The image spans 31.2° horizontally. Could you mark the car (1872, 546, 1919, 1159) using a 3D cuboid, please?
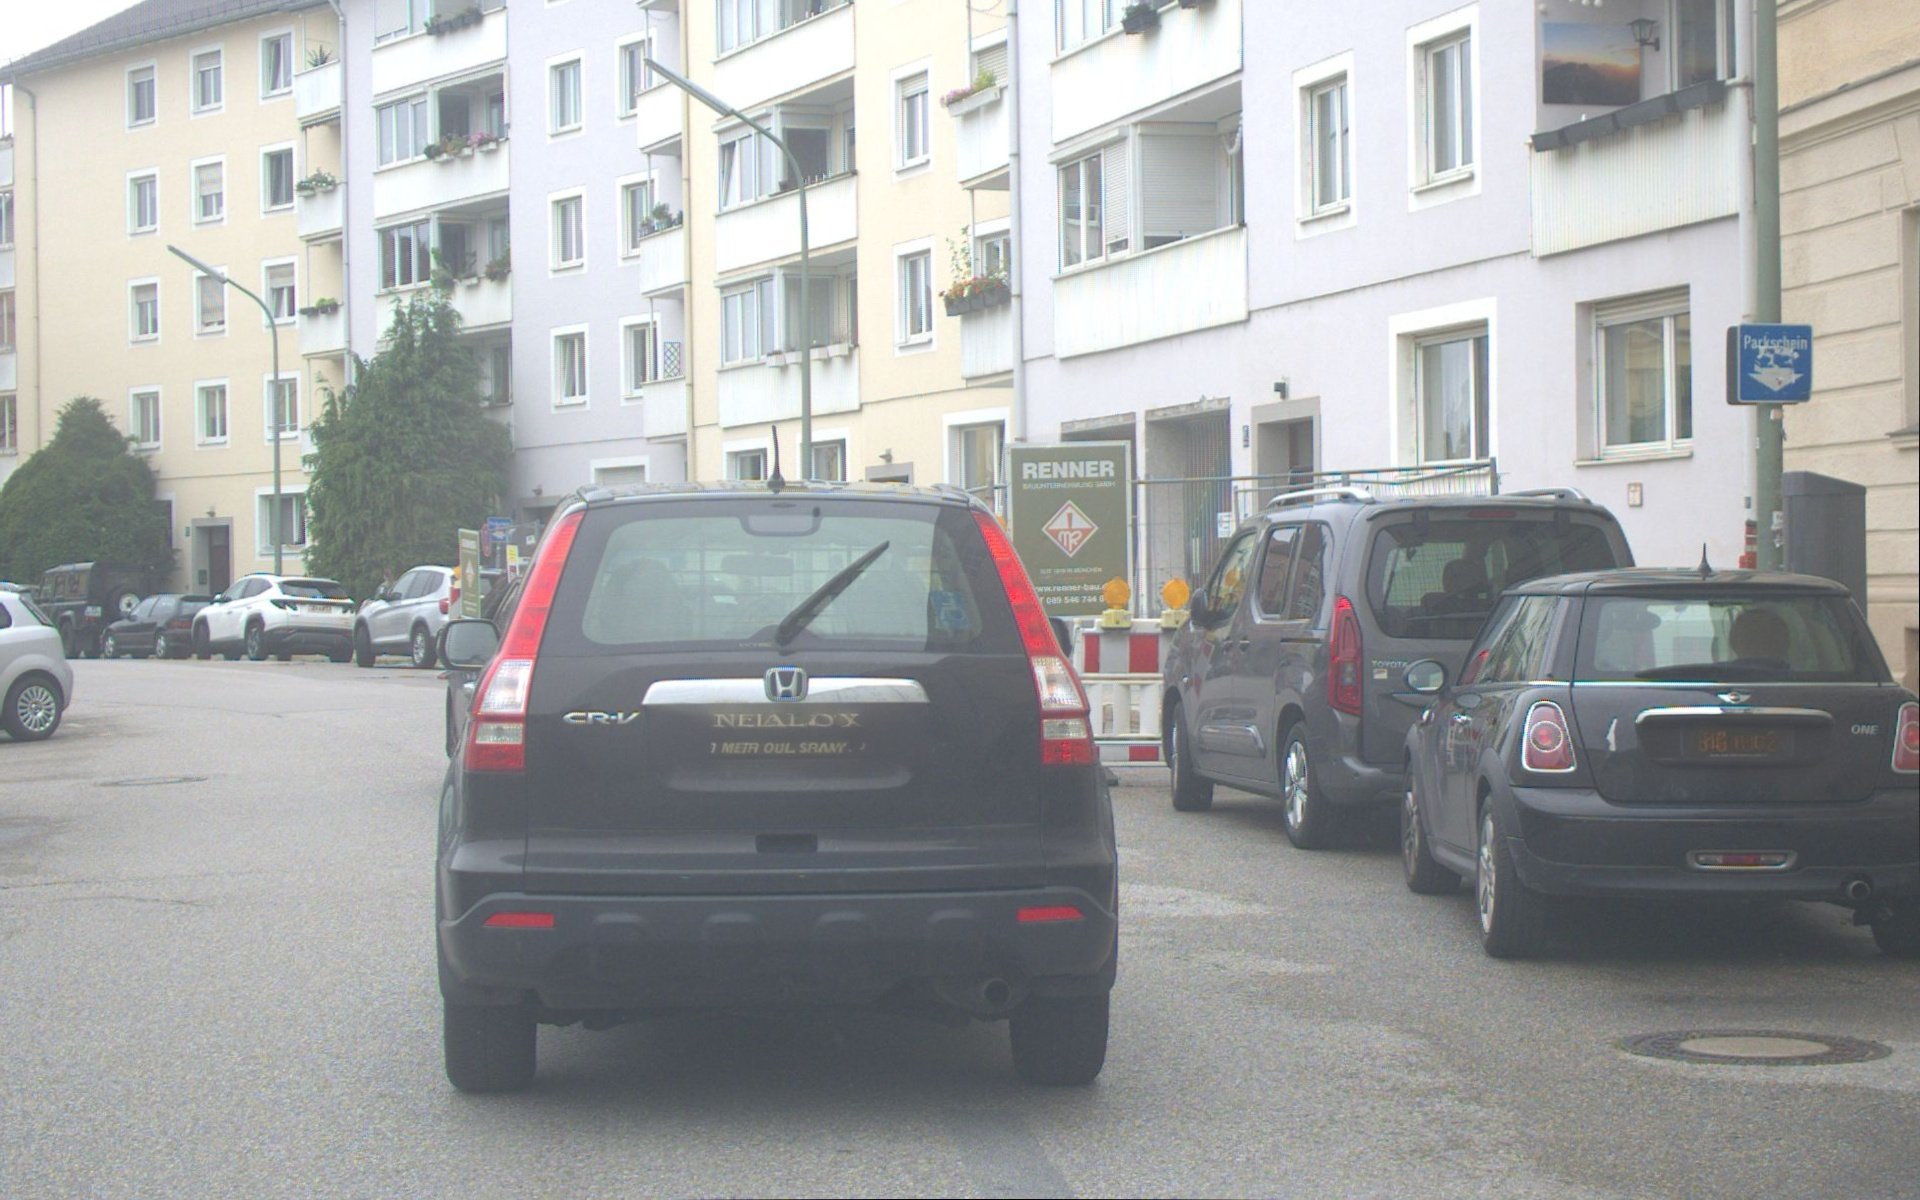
[{"bbox_3d":[3.134,0.646,7.423,1.535,1.518,3.110,1,1,1],"label":"car"}]

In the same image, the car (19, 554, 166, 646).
[{"bbox_3d":[-18.220,-0.033,72.115,1.724,1.871,4.000,0,1,-34],"label":"car"}]

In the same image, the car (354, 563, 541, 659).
[{"bbox_3d":[-8.289,0.150,55.355,1.724,1.478,4.001,0,1,-28],"label":"car"}]

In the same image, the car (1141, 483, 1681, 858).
[{"bbox_3d":[2.300,0.324,18.729,1.777,1.800,4.277,1,1,-9],"label":"car"}]

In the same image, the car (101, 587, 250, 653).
[{"bbox_3d":[-15.572,0.372,68.147,1.697,1.232,3.601,0,1,-34],"label":"car"}]

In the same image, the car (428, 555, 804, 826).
[{"bbox_3d":[-2.204,0.479,21.043,1.678,1.476,4.088,-1,1,-14],"label":"car"}]

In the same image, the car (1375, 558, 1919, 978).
[{"bbox_3d":[2.742,0.566,13.867,1.708,1.442,3.830,1,1,1],"label":"car"}]

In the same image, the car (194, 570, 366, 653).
[{"bbox_3d":[-12.713,0.184,64.127,1.724,1.478,4.000,0,1,-34],"label":"car"}]

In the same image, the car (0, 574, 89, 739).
[{"bbox_3d":[-10.198,0.652,31.331,1.683,1.476,4.078,-5,0,39],"label":"car"}]

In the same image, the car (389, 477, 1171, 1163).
[{"bbox_3d":[-0.632,0.509,10.368,1.890,1.642,3.992,-1,1,-6],"label":"car"}]
